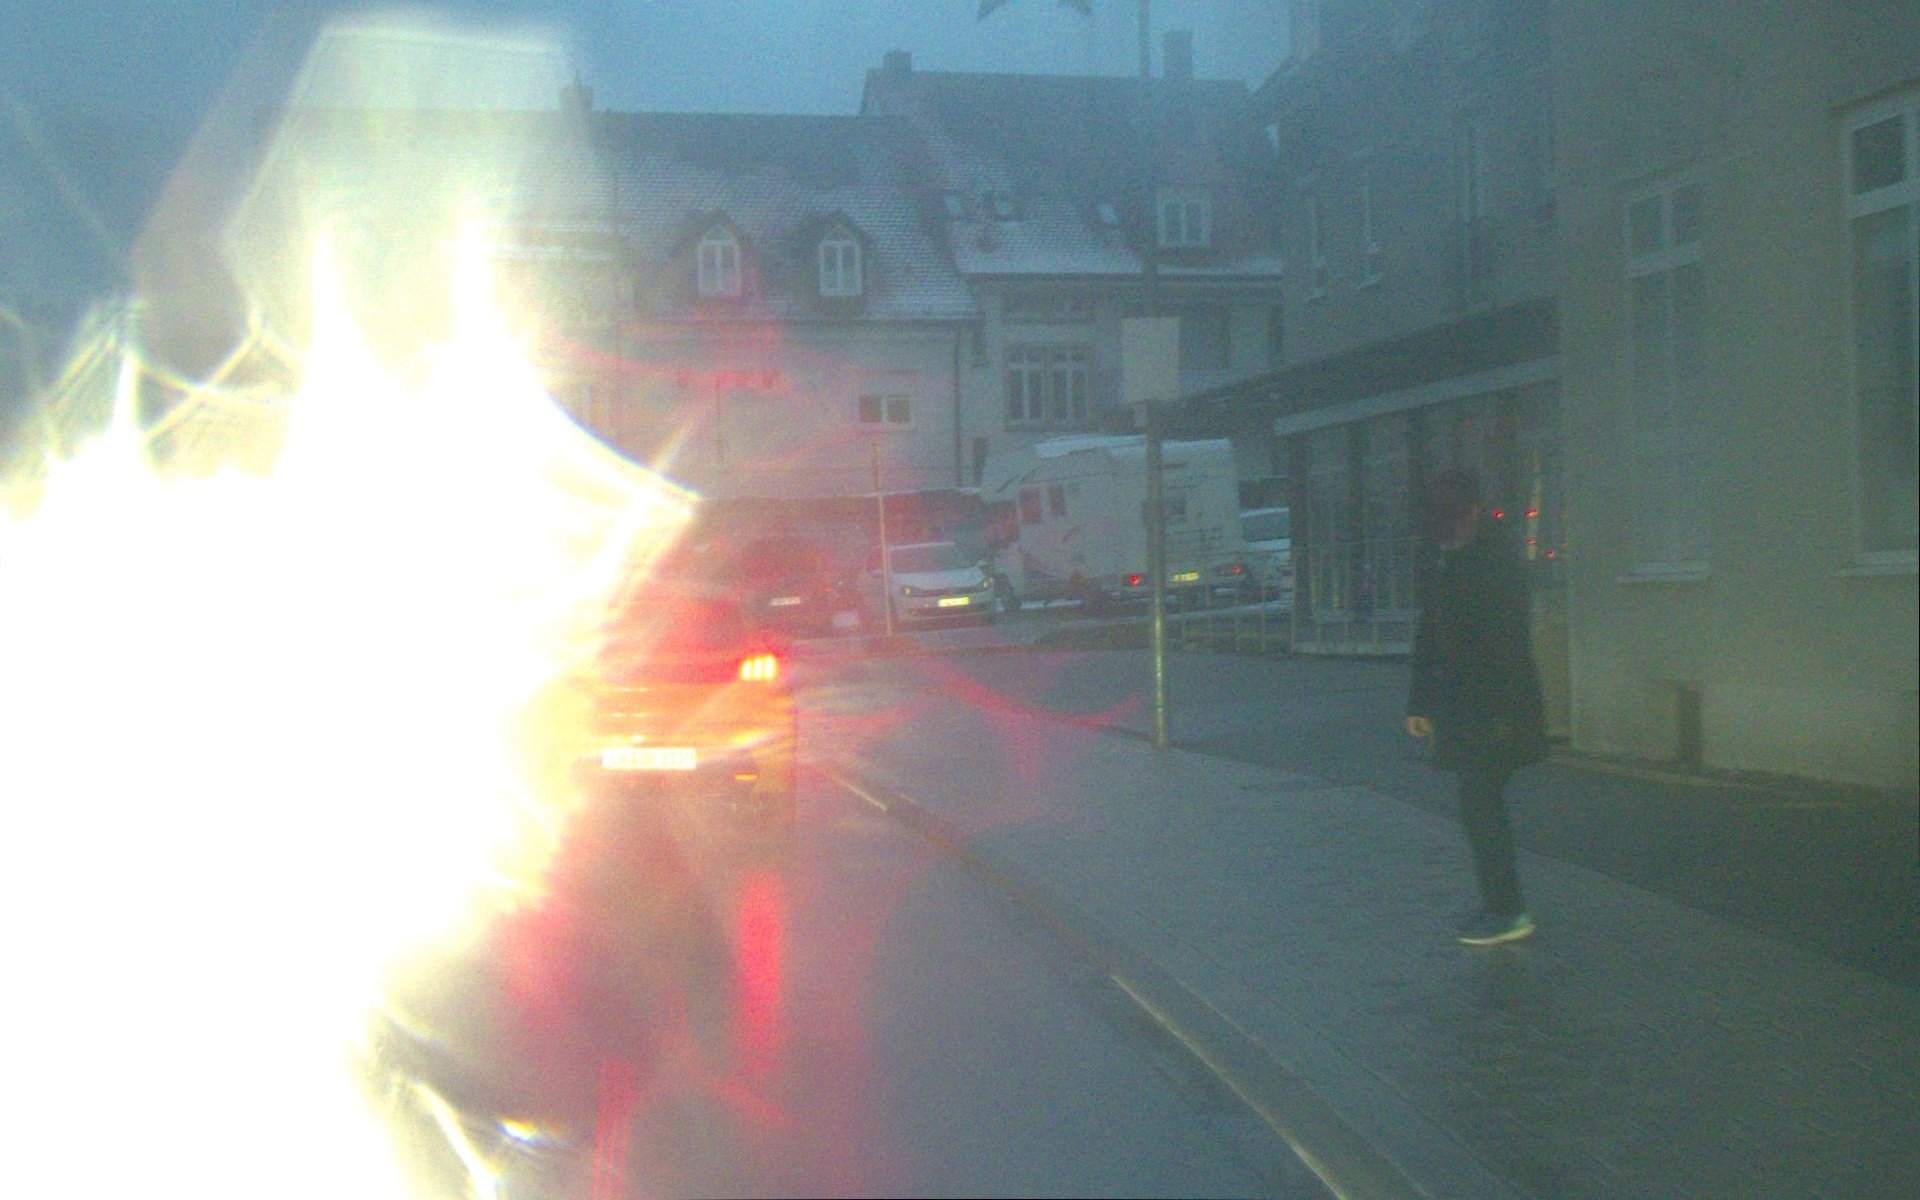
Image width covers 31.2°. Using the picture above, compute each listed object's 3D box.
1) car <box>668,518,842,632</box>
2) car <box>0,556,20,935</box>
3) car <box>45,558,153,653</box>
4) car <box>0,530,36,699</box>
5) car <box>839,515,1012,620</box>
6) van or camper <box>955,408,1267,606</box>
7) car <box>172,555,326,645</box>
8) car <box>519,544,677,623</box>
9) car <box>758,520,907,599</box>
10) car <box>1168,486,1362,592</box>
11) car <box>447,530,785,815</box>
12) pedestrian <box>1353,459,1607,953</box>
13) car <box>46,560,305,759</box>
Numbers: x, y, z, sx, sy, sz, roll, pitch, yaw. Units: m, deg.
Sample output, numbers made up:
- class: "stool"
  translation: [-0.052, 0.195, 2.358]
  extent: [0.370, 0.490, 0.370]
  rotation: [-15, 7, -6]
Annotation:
- class: "car"
  translation: [-3.502, -0.440, 57.983]
  extent: [1.993, 1.759, 4.352]
  rotation: [-3, 2, -15]
- class: "car"
  translation: [-4.738, 0.665, 12.812]
  extent: [1.993, 1.550, 4.259]
  rotation: [-1, 2, -10]
- class: "car"
  translation: [-20.443, 0.096, 81.524]
  extent: [1.993, 2.195, 4.001]
  rotation: [0, 1, -21]
- class: "car"
  translation: [-11.833, 0.134, 39.413]
  extent: [1.993, 1.837, 5.305]
  rotation: [0, 0, -11]
- class: "car"
  translation: [-0.637, -0.525, 58.275]
  extent: [1.993, 1.605, 4.175]
  rotation: [-3, 0, -13]
- class: "van or camper"
  translation: [2.468, -1.549, 58.966]
  extent: [2.650, 3.037, 6.736]
  rotation: [-5, 2, -21]
- class: "car"
  translation: [-12.993, -0.017, 62.695]
  extent: [1.993, 1.583, 4.001]
  rotation: [0, 1, -23]
- class: "car"
  translation: [-7.068, -0.343, 66.869]
  extent: [1.886, 1.457, 3.634]
  rotation: [-2, 1, -26]
- class: "car"
  translation: [-2.639, -0.848, 70.103]
  extent: [1.822, 1.457, 4.550]
  rotation: [-3, 2, -18]
- class: "car"
  translation: [5.164, -1.036, 58.685]
  extent: [1.788, 1.548, 4.001]
  rotation: [-7, 3, -17]
- class: "car"
  translation: [-2.017, 0.366, 20.511]
  extent: [1.814, 1.528, 4.001]
  rotation: [0, 1, -5]
- class: "pedestrian"
  translation: [1.879, 0.358, 12.522]
  extent: [0.745, 1.723, 0.873]
  rotation: [-1, 2, -2]
- class: "car"
  translation: [-6.945, 0.483, 30.809]
  extent: [1.917, 1.559, 4.227]
  rotation: [-3, 1, -9]
